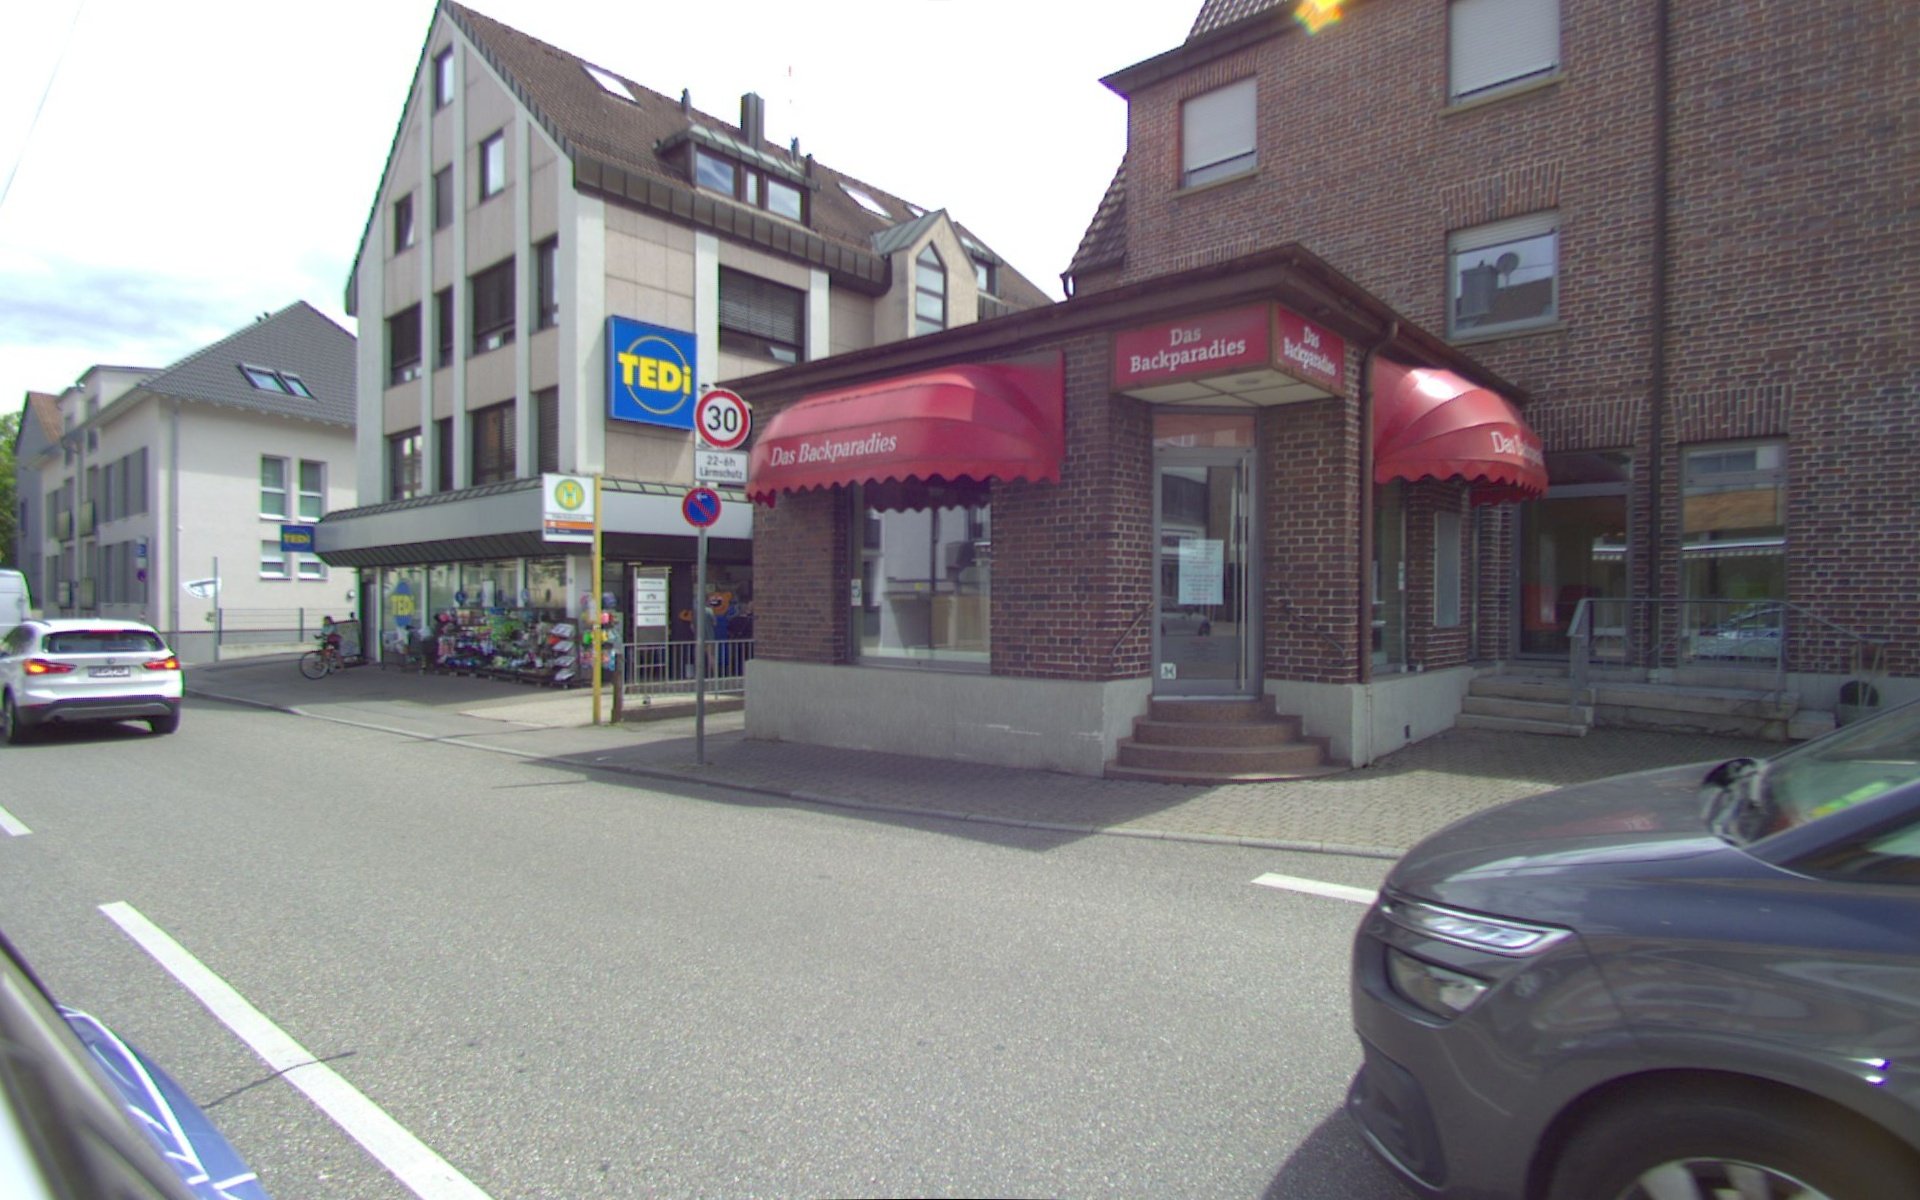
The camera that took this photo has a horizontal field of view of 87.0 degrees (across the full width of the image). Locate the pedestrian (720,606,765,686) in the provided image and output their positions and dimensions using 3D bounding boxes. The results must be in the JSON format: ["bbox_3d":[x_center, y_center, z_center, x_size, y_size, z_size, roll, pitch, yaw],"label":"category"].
[{"bbox_3d":[-4.493,0.936,20.900,0.773,1.570,0.566,2,2,44],"label":"pedestrian"}]

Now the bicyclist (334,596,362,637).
[{"bbox_3d":[-18.727,0.506,30.986,0.631,1.251,0.428,0,1,-16],"label":"bicyclist"}]

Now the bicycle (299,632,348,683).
[{"bbox_3d":[-14.691,1.307,23.339,1.733,1.058,0.439,1,4,41],"label":"bicycle"}]

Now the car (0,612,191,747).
[{"bbox_3d":[-12.674,1.023,14.388,4.215,1.652,1.763,-1,-2,39],"label":"car"}]

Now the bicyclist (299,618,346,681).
[{"bbox_3d":[-14.762,1.131,23.437,0.761,1.347,0.660,1,3,41],"label":"bicyclist"}]

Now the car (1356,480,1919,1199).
[{"bbox_3d":[2.946,0.604,1.427,4.097,1.602,1.771,-2,-2,40],"label":"car"}]

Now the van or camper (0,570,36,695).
[{"bbox_3d":[-22.288,0.728,22.271,5.432,2.576,2.127,-2,-2,40],"label":"van or camper"}]
